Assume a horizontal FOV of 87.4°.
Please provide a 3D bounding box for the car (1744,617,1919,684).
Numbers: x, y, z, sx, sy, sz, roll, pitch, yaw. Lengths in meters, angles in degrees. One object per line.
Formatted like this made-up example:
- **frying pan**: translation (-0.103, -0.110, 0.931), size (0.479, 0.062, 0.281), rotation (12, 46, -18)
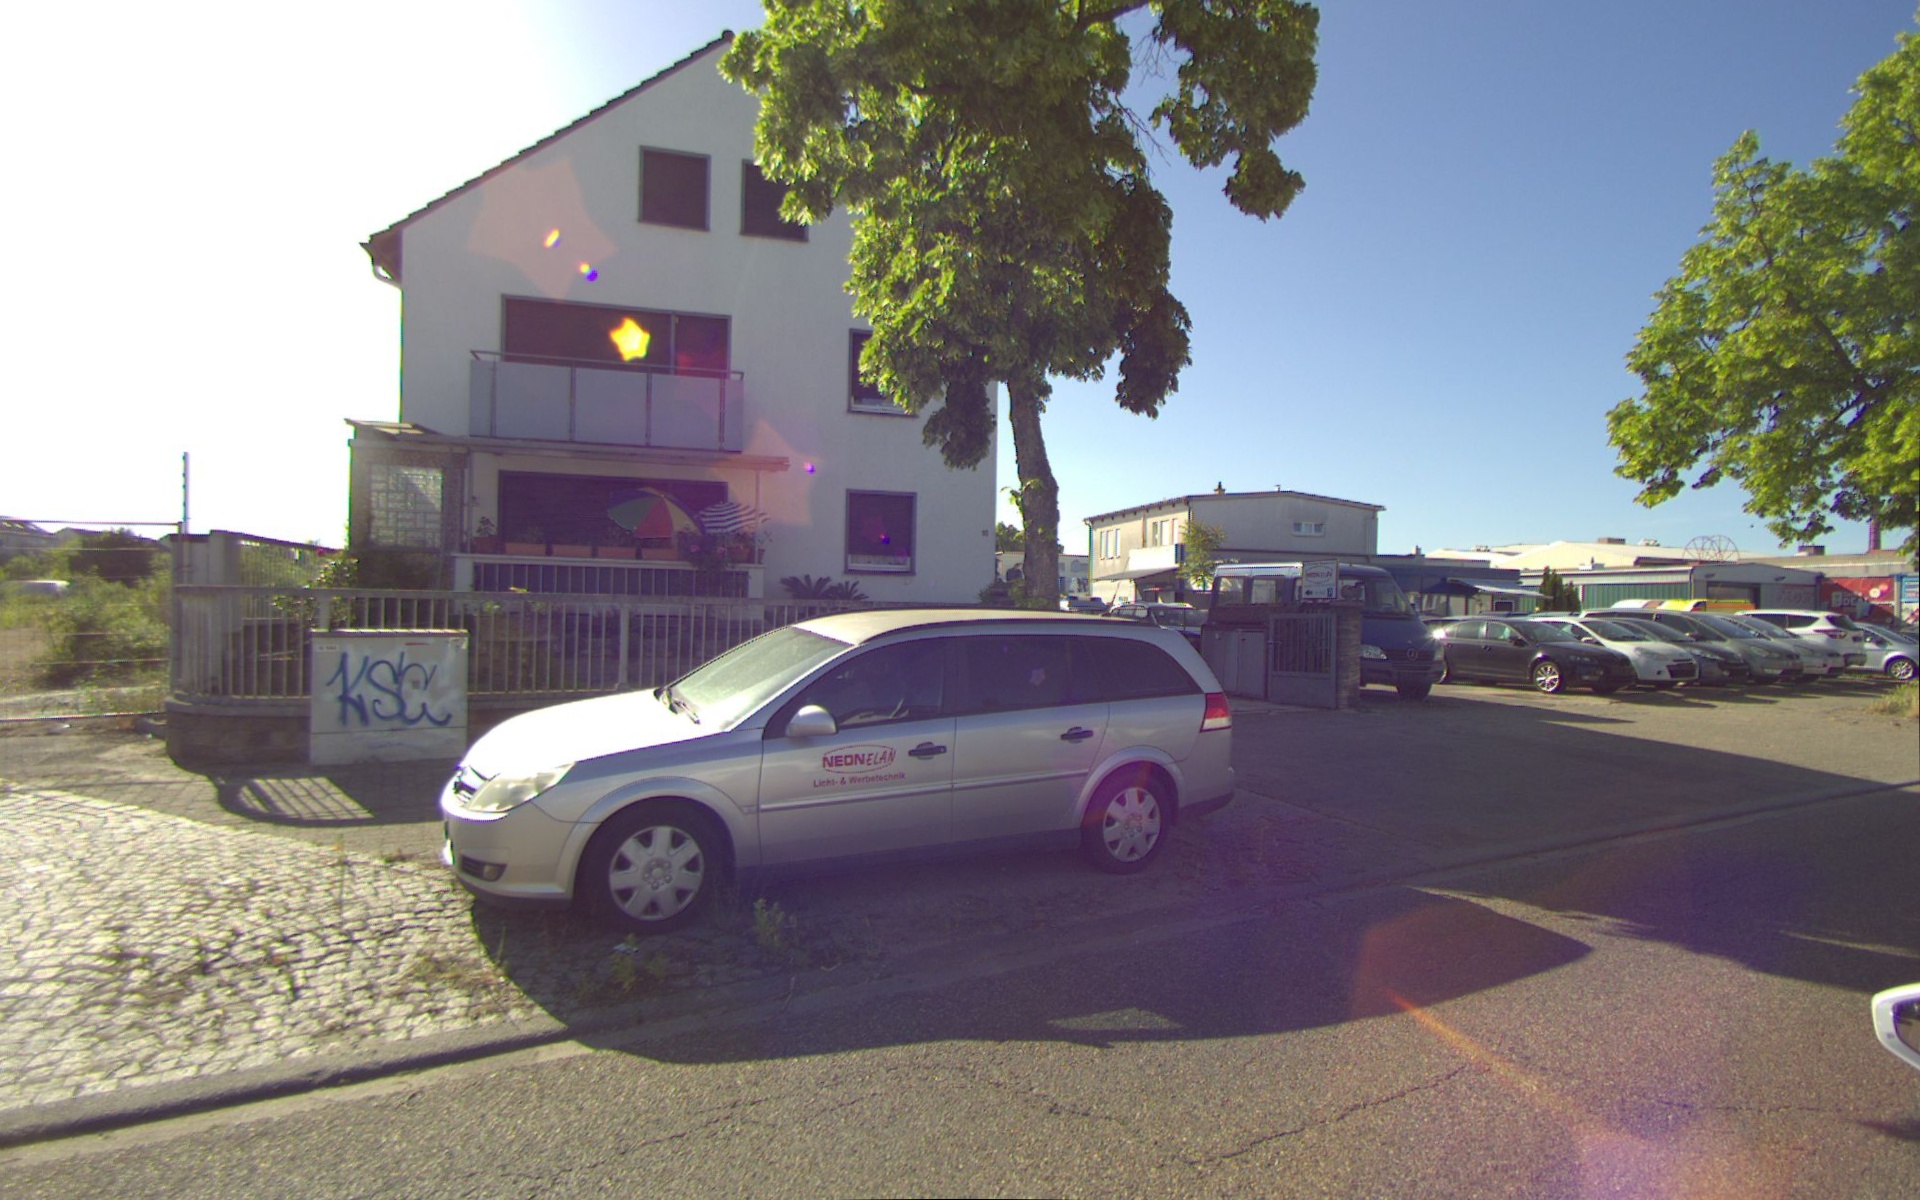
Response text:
- **car**: translation (25.541, 1.407, 29.028), size (1.743, 1.751, 4.233), rotation (1, -1, -27)

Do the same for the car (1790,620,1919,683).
- **car**: translation (27.557, 1.517, 29.764), size (1.741, 1.751, 4.239), rotation (1, -1, -23)

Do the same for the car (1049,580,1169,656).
- **car**: translation (3.902, 0.468, 27.026), size (1.651, 1.860, 4.041), rotation (1, 0, -16)

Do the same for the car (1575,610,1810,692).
- **car**: translation (17.321, 1.135, 23.989), size (1.742, 1.776, 4.235), rotation (1, -1, -26)

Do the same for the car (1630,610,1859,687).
- **car**: translation (19.476, 1.136, 25.168), size (1.741, 1.751, 4.239), rotation (1, -1, -23)

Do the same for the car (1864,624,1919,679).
- **car**: translation (31.777, 1.672, 31.906), size (1.741, 1.751, 4.239), rotation (1, -1, -23)

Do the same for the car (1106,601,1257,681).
- **car**: translation (4.938, 0.901, 22.991), size (1.651, 1.600, 3.982), rotation (3, -2, -16)

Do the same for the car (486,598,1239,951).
- **car**: translation (-0.504, 0.785, 6.021), size (4.156, 1.454, 1.680), rotation (1, 2, -28)

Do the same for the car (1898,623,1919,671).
- **car**: translation (37.788, 1.764, 37.930), size (4.099, 1.772, 1.775), rotation (0, 0, -19)

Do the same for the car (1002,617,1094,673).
- **car**: translation (2.642, 1.331, 31.022), size (1.477, 1.565, 4.041), rotation (1, 0, -16)

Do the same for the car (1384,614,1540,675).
- **car**: translation (13.627, 1.196, 27.244), size (3.944, 1.537, 1.660), rotation (1, 0, -24)

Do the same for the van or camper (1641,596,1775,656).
- **van or camper**: translation (36.445, 1.268, 48.931), size (6.172, 2.751, 2.162), rotation (1, 0, -19)

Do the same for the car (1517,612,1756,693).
- **car**: translation (15.411, 1.124, 23.112), size (1.745, 1.607, 4.228), rotation (1, 0, -30)

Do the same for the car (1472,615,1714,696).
- **car**: translation (13.669, 1.117, 21.984), size (1.741, 1.562, 4.237), rotation (0, 0, -25)

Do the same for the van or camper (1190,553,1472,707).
- **van or camper**: translation (6.371, 0.488, 18.004), size (2.207, 2.351, 4.891), rotation (2, 0, -16)

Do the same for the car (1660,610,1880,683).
- **car**: translation (21.344, 1.166, 26.682), size (1.741, 1.751, 4.239), rotation (1, -1, -23)

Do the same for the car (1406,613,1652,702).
- **car**: translation (11.596, 1.105, 20.813), size (1.741, 1.562, 4.238), rotation (1, 0, -23)

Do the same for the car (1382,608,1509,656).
- **car**: translation (16.565, 1.092, 34.292), size (3.941, 1.576, 1.694), rotation (1, 0, -22)

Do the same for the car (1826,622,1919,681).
- **car**: translation (29.537, 1.591, 30.778), size (1.741, 1.751, 4.239), rotation (1, -1, -23)
